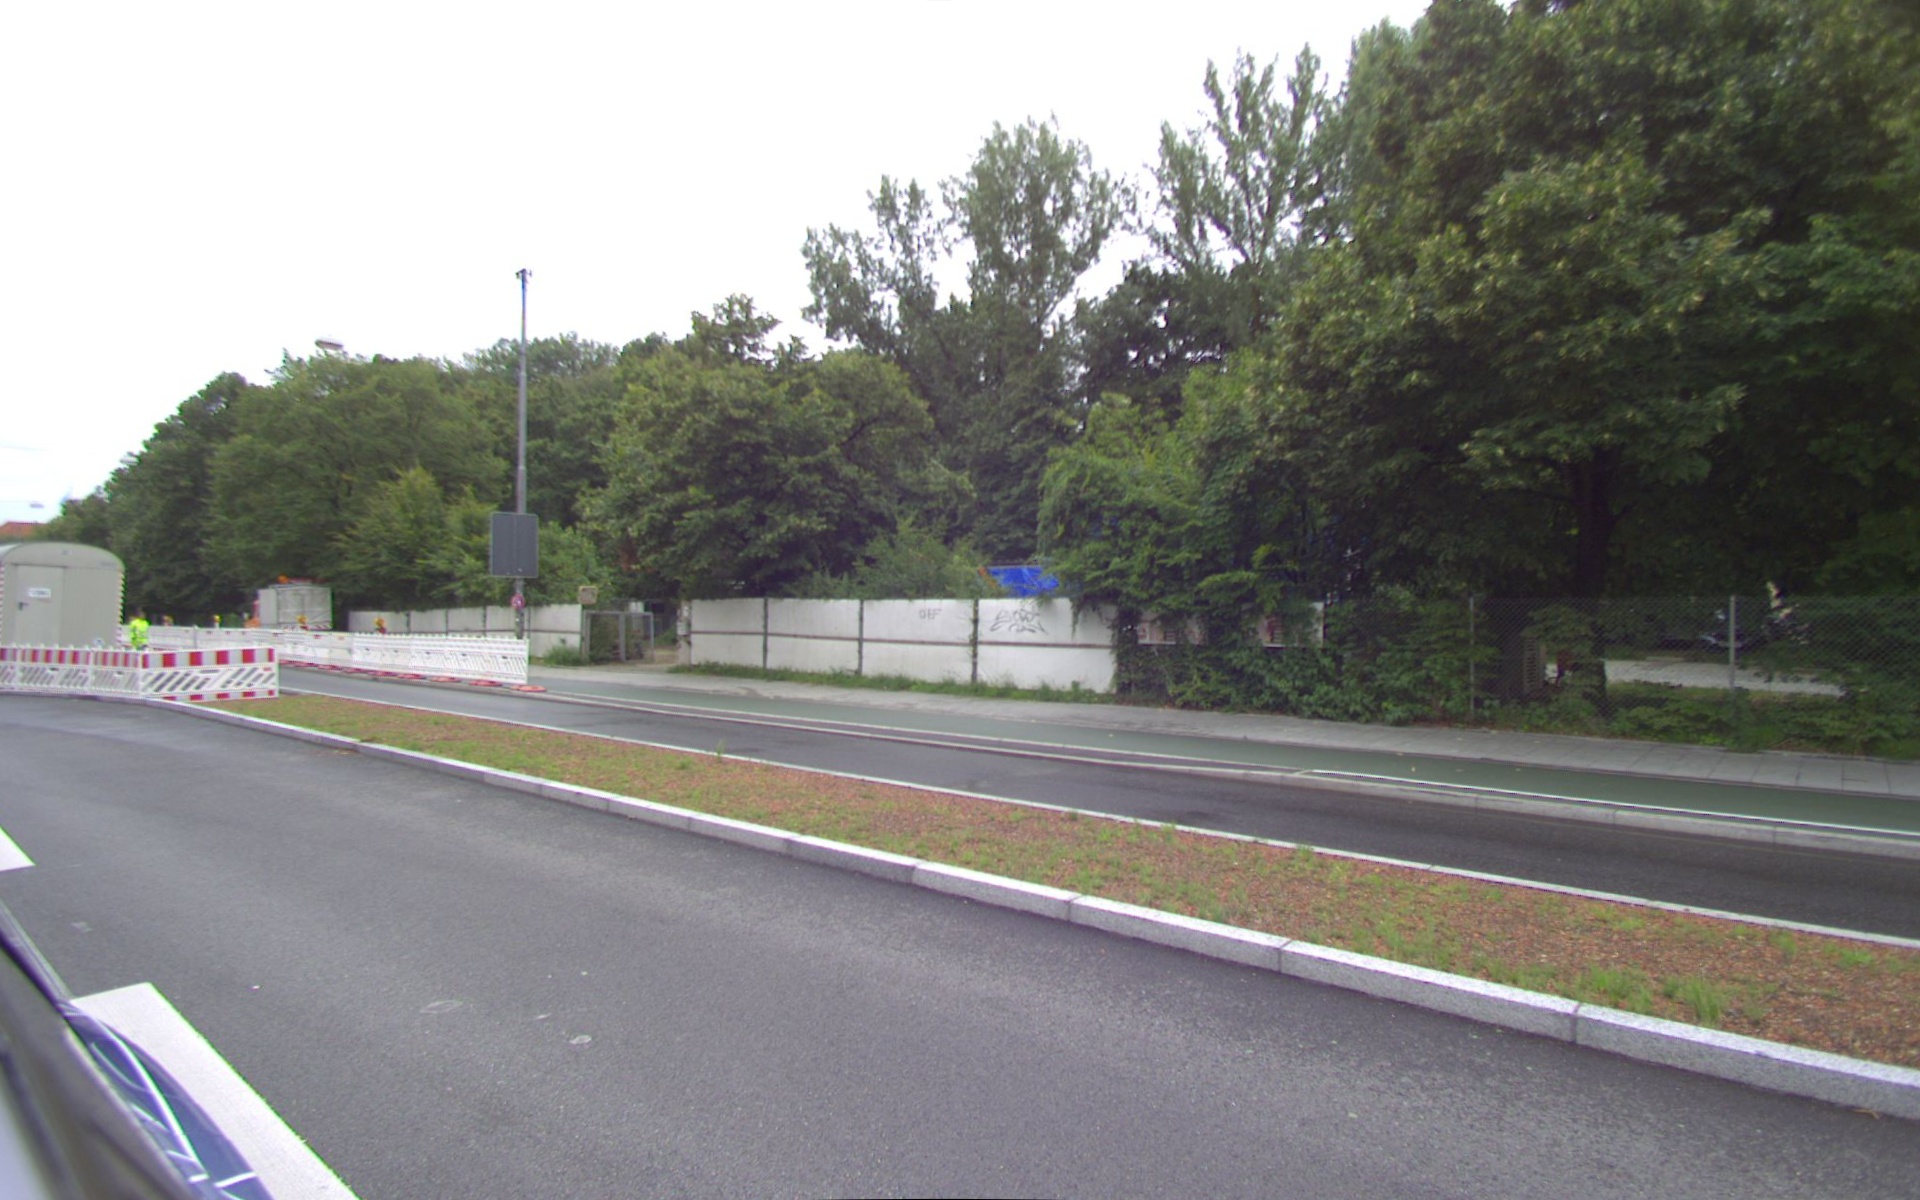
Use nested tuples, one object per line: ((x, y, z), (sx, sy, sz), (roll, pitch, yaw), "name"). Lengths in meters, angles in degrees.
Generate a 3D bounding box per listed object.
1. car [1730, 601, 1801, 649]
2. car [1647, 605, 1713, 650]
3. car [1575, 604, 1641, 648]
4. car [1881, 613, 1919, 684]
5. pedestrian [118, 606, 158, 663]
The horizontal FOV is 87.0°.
((30.624, 0.958, 38.539), (1.997, 1.732, 3.949), (-1, -2, 38), "car")
((29.124, 1.090, 40.878), (1.997, 1.732, 3.949), (-1, -2, 38), "car")
((26.965, 1.063, 42.080), (1.997, 1.732, 3.950), (-1, -2, 37), "car")
((22.781, 1.064, 21.975), (3.996, 1.556, 1.753), (-1, -2, 39), "car")
((-28.781, 1.198, 35.434), (0.874, 1.956, 0.879), (-1, -2, 38), "pedestrian")
